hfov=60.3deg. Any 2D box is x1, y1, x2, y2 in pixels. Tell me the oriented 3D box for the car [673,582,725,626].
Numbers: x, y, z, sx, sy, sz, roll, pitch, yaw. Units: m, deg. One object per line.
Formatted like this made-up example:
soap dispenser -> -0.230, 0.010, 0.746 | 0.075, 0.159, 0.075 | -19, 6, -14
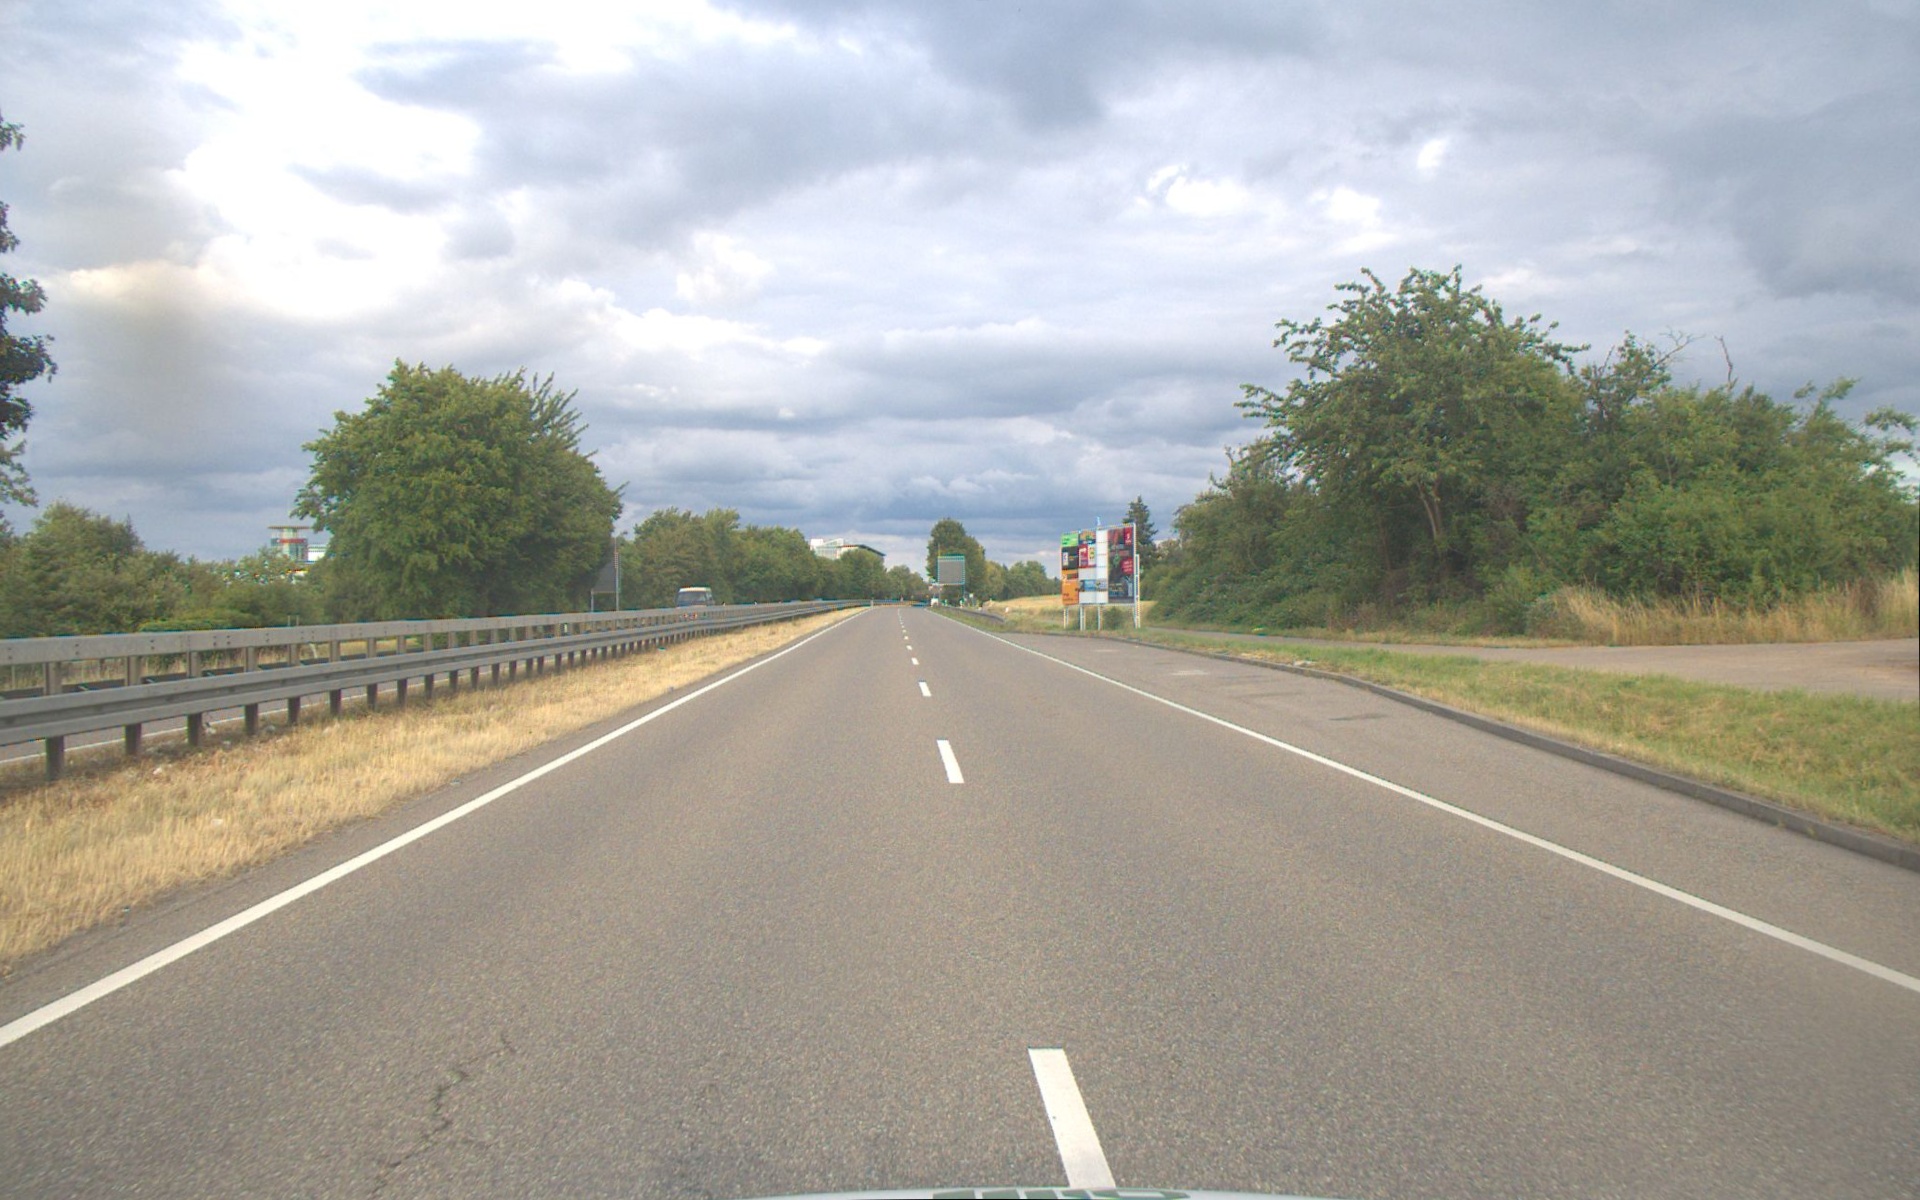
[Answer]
car -> -13.893, 0.197, 88.269 | 1.953, 2.178, 5.317 | -2, 0, -1
